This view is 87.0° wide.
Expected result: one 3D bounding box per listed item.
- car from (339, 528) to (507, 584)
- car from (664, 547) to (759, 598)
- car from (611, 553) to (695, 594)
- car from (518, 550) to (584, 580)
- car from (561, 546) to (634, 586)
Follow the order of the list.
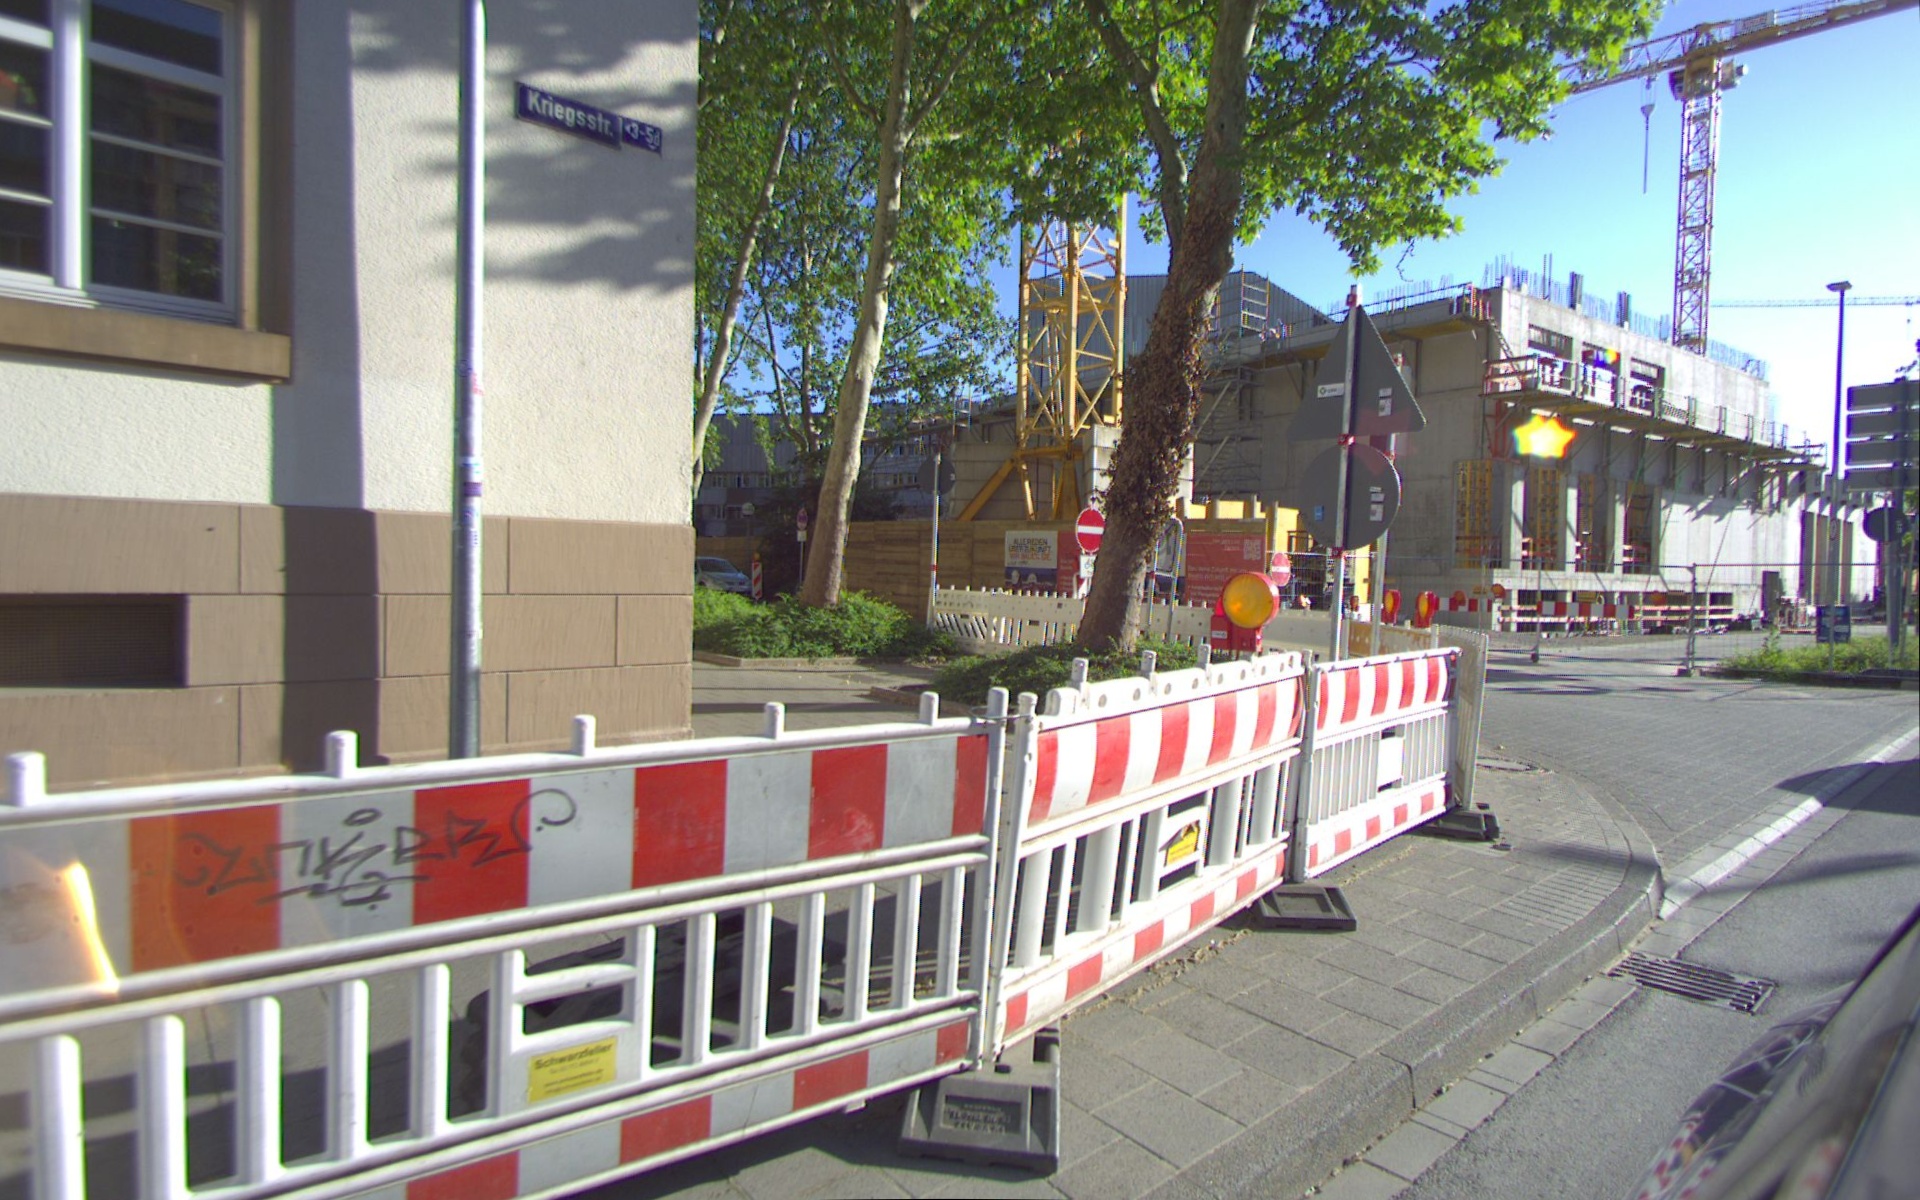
[{"bbox_3d":[-16.539,-1.315,31.264,4.290,1.602,1.870,0,2,-41],"label":"car"},{"bbox_3d":[-8.489,-0.955,34.324,1.695,1.549,4.000,1,2,-36],"label":"car"},{"bbox_3d":[-11.703,-0.981,38.436,1.697,1.445,3.996,0,0,-39],"label":"car"},{"bbox_3d":[-18.720,-1.559,46.240,1.697,1.284,3.996,0,1,-39],"label":"car"},{"bbox_3d":[-15.378,-1.385,42.811,1.697,1.549,3.996,0,0,-39],"label":"car"}]
